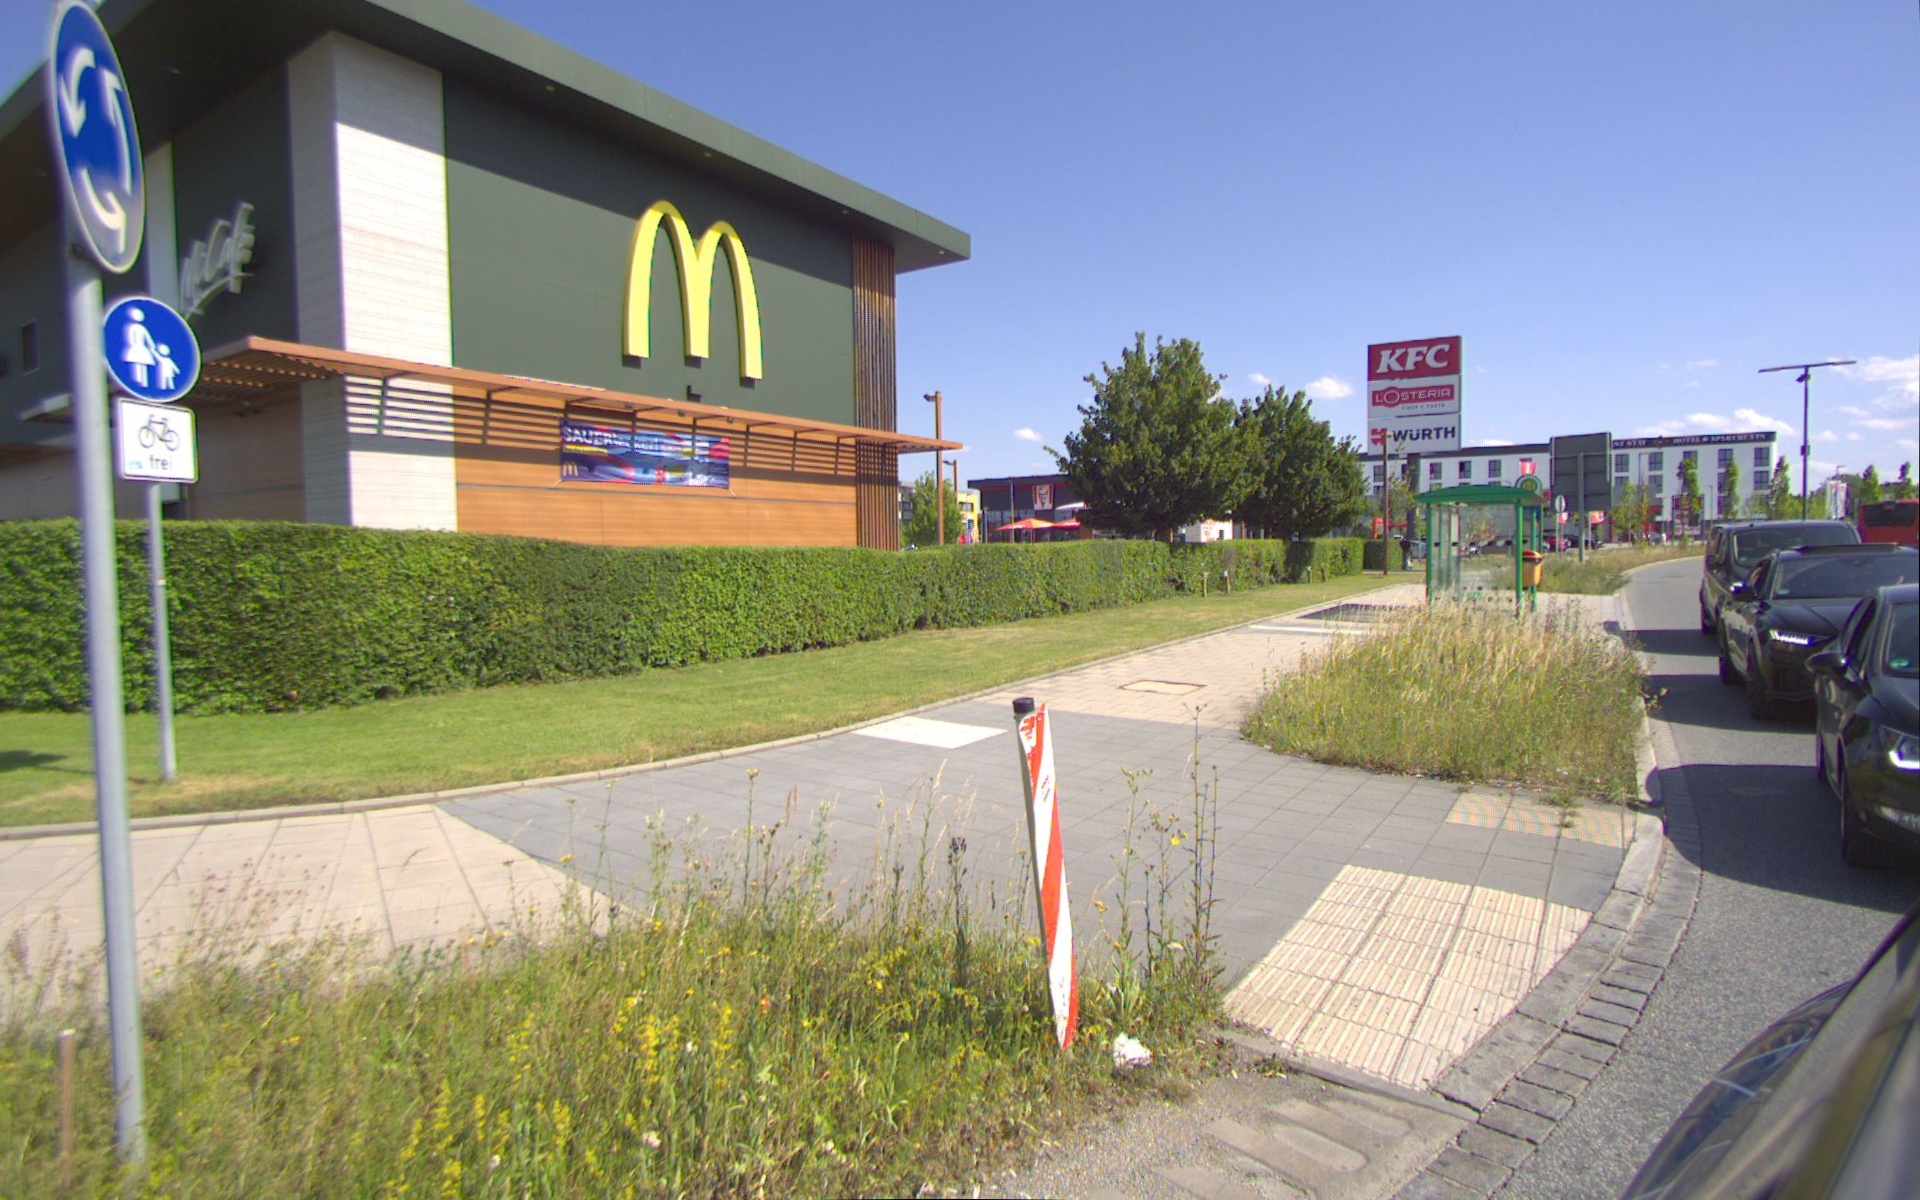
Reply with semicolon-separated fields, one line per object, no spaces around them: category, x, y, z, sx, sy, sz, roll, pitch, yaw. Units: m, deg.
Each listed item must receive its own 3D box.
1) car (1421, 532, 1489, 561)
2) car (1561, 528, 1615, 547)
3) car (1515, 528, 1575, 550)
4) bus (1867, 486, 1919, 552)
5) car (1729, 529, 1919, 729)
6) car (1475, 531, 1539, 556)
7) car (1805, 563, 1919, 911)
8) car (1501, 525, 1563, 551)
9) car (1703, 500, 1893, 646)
car;37.053;-3.989;75.778;1.900;2.038;4.181;-3;3;-40
car;56.065;-5.593;90.394;1.727;1.639;3.818;-3;4;-42
car;50.351;-5.270;87.153;1.791;1.783;4.184;-3;3;-38
bus;51.956;-4.371;55.900;2.608;3.281;11.702;1;3;42
car;9.326;0.171;10.622;1.851;1.709;3.950;-2;2;36
car;44.156;-4.544;81.759;1.771;1.880;4.185;-3;3;-37
car;5.966;0.569;5.631;1.854;1.486;3.945;1;3;39
car;47.986;-5.171;84.982;1.902;2.038;4.178;-3;4;-43
car;13.746;-0.491;16.879;2.068;2.073;4.624;-2;2;36
